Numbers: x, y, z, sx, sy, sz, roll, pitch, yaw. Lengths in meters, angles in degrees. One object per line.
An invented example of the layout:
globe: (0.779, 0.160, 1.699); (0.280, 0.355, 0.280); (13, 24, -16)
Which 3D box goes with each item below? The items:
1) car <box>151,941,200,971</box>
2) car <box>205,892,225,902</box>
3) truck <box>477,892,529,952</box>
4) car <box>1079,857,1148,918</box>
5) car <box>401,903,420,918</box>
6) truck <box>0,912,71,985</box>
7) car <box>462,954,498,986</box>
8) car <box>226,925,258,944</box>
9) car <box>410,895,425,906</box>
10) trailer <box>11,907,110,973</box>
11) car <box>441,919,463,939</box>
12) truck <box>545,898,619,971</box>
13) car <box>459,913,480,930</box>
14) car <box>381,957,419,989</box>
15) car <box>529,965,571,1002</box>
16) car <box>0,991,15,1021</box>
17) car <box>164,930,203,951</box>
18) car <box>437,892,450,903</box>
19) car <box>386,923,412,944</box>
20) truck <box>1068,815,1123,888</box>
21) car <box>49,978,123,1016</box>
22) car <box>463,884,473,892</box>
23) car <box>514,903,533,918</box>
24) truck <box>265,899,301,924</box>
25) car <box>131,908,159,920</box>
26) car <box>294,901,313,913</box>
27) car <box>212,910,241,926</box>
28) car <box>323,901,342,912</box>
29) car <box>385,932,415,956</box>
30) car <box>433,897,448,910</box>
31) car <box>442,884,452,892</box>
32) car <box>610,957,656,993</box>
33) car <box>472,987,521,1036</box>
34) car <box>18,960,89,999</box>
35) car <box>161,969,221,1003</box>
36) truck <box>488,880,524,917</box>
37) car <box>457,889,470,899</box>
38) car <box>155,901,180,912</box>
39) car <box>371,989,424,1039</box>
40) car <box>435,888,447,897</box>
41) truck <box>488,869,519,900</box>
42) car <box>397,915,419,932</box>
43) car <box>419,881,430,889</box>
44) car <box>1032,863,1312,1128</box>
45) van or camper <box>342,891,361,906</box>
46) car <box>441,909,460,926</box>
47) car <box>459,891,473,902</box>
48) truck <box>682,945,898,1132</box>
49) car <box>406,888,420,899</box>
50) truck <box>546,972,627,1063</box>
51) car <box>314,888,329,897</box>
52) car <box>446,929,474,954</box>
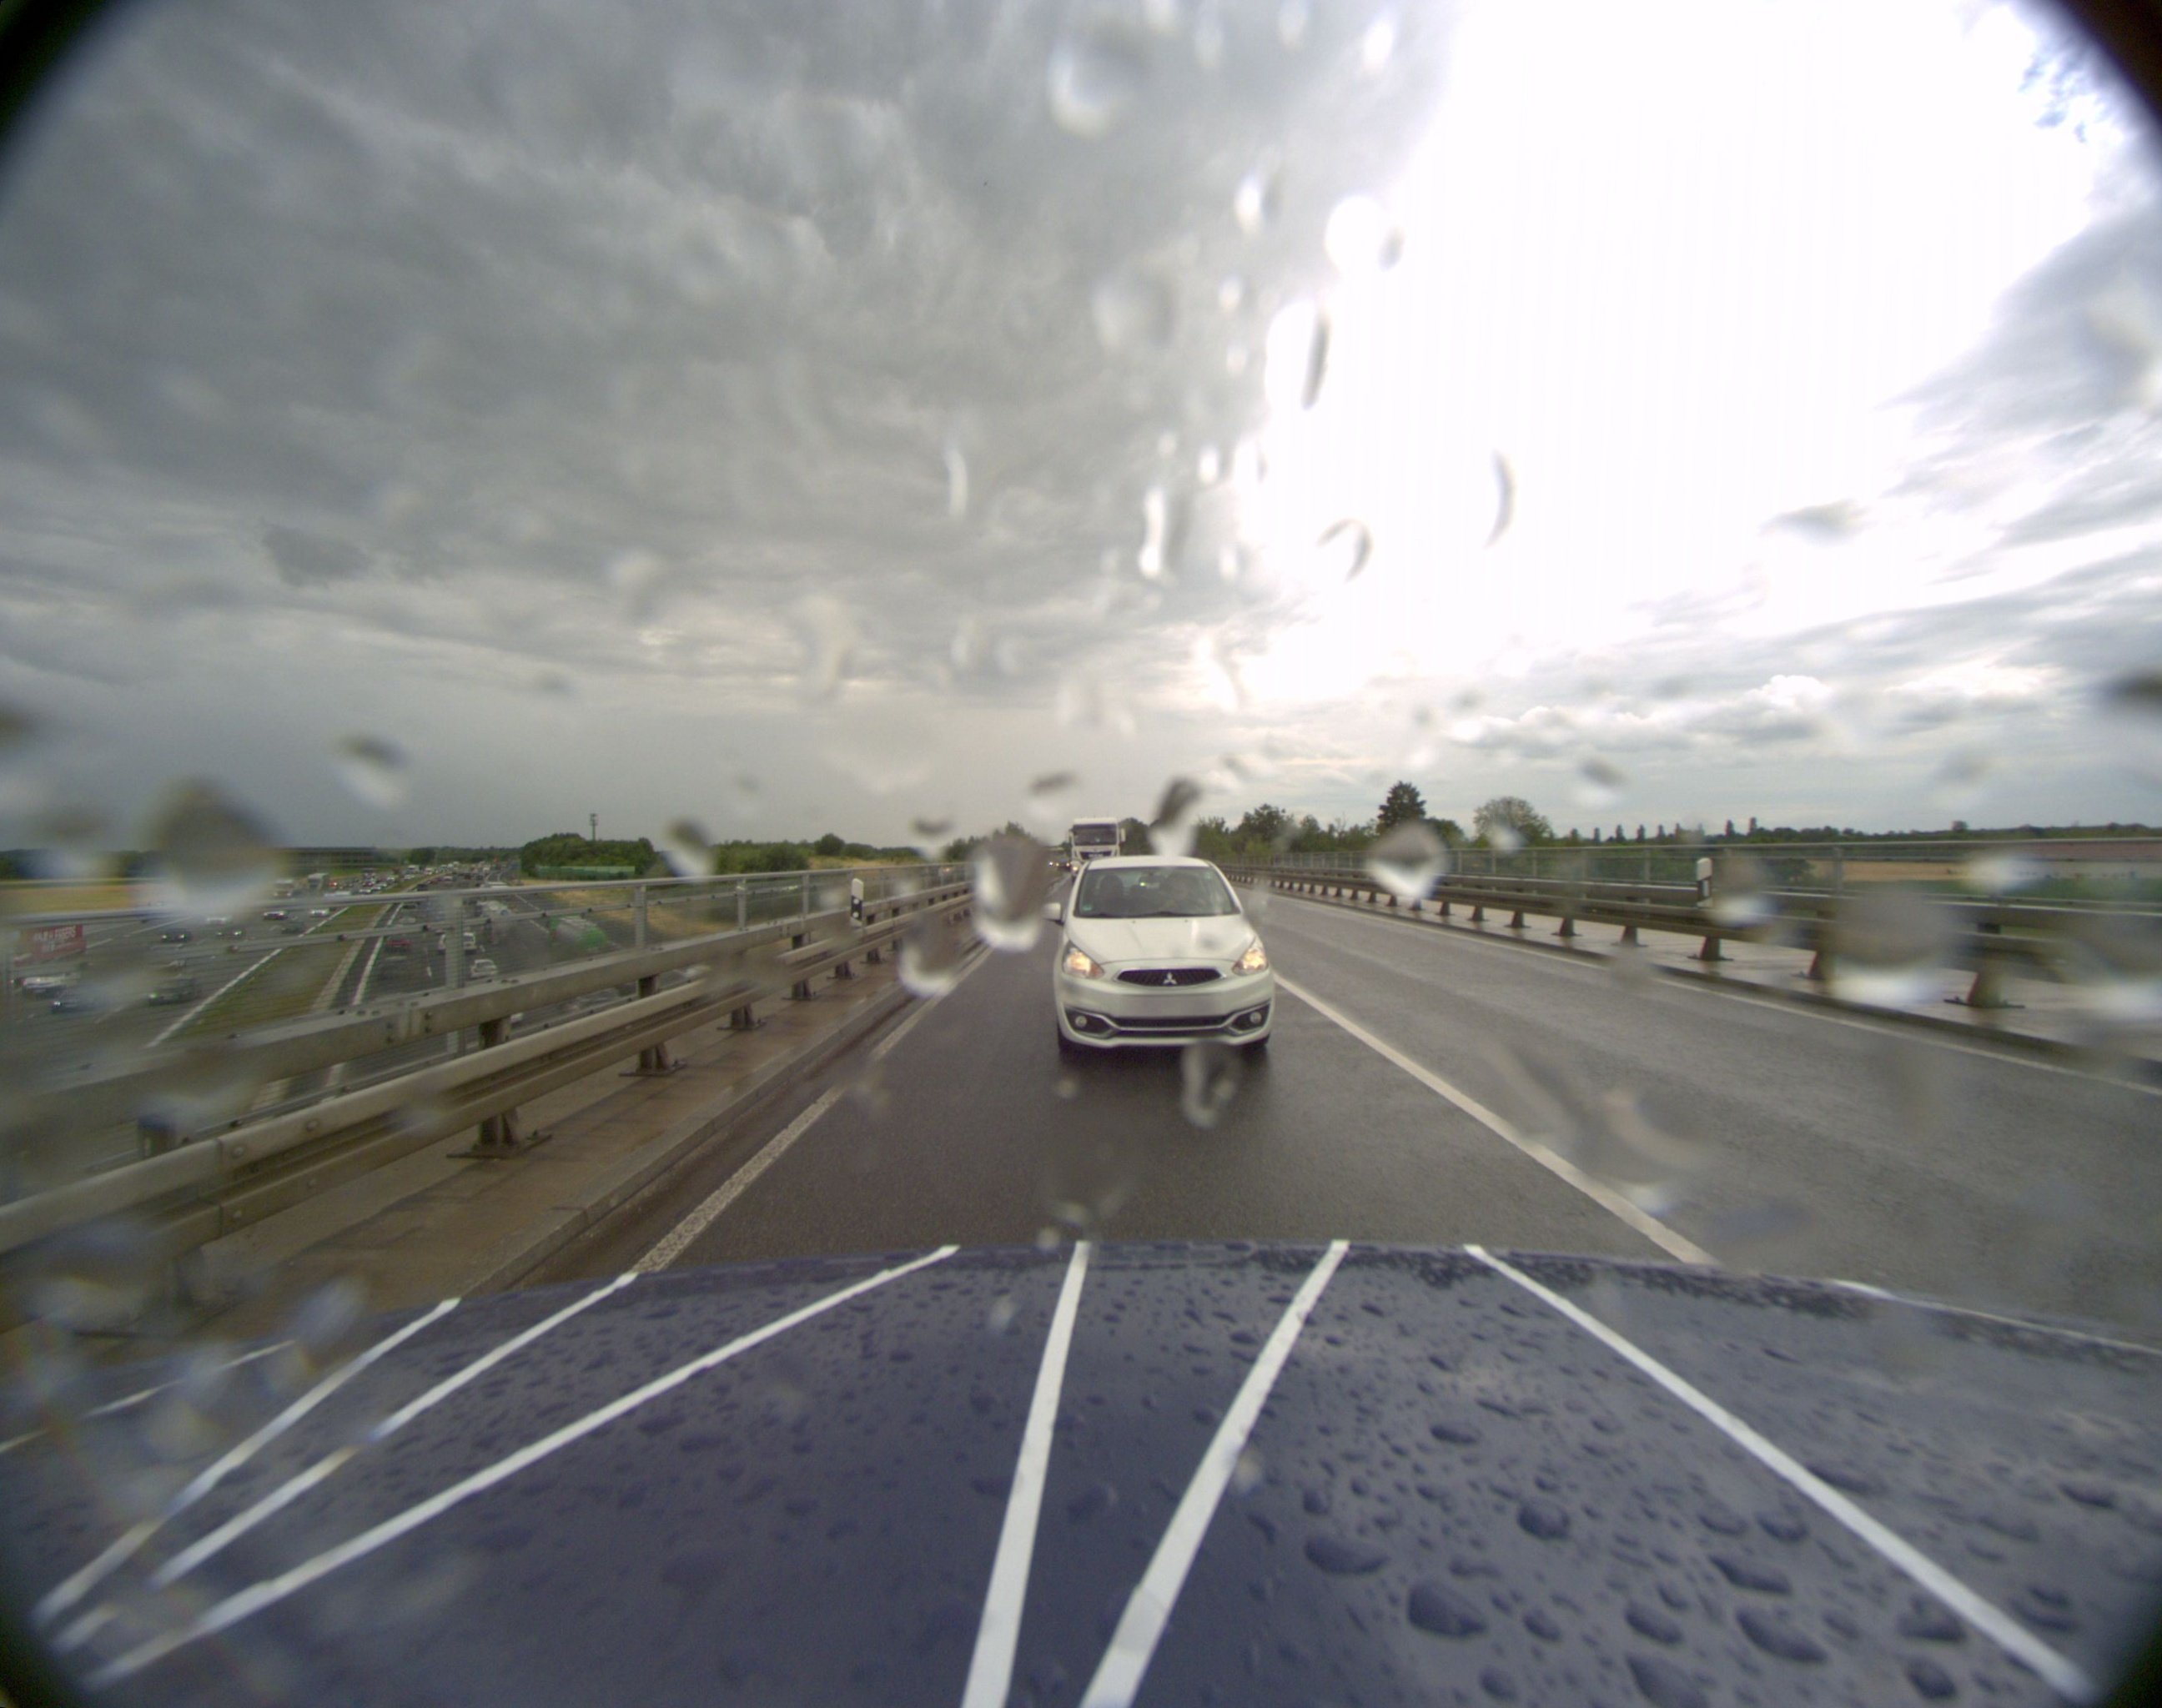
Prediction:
car: (-74.609, 8.378, 62.668); (1.818, 1.836, 4.711); (-3, 1, -41)
car: (-160.657, 7.960, 141.003); (1.818, 1.428, 4.711); (-3, 1, -41)
truck: (-63.248, 7.163, 82.951); (3.302, 5.411, 15.587); (-3, 1, -41)
car: (0.841, 0.850, 21.024); (1.675, 1.367, 4.129); (-2, 1, 1)
car: (-95.698, 8.089, 108.425); (1.860, 1.764, 4.711); (-3, 1, -40)
truck: (-79.258, 6.976, 56.537); (2.691, 4.600, 9.727); (-3, 1, -41)
car: (-44.080, 8.458, 55.713); (1.860, 1.659, 4.711); (-3, 1, -40)
car: (-95.478, 9.182, 86.501); (1.818, 1.659, 4.711); (-3, 1, -40)
car: (-121.301, 8.545, 138.932); (1.860, 1.764, 4.711); (-3, 1, -40)
trailer: (-85.632, 7.044, 63.974); (2.691, 4.602, 9.882); (-3, 1, -41)
car: (-72.674, 8.622, 87.801); (1.860, 1.764, 4.711); (-3, 1, -40)
truck: (-44.844, 6.861, 67.887); (3.302, 5.135, 15.587); (-3, 1, -41)
car: (-78.029, 8.591, 96.960); (1.860, 1.764, 4.711); (-3, 1, -40)
car: (-50.091, 8.704, 55.955); (1.860, 1.659, 4.711); (-3, 1, -40)
car: (-35.606, 8.637, 50.891); (1.860, 1.659, 4.711); (-3, 1, -40)
car: (-60.787, 8.606, 41.525); (1.818, 1.428, 4.711); (-3, 1, -41)
car: (-94.358, 9.047, 79.948); (1.818, 1.659, 4.711); (-3, 1, -40)
car: (-123.131, 8.429, 146.795); (1.860, 1.764, 4.711); (-3, 1, -40)
car: (-73.442, 8.527, 81.901); (1.860, 1.764, 4.711); (-3, 1, -40)
truck: (0.677, -0.341, 41.846); (2.631, 3.537, 8.473); (-2, 3, 0)
car: (-61.347, 8.789, 46.946); (1.818, 1.428, 4.711); (-3, 1, -41)
car: (-148.628, 8.135, 184.200); (1.860, 1.764, 4.711); (-3, 1, -40)
car: (-82.331, 8.325, 112.206); (1.860, 1.764, 4.711); (-3, 1, -40)
truck: (-117.347, 8.371, 111.843); (2.600, 3.161, 8.373); (-3, 1, -40)
car: (-139.209, 8.921, 112.998); (1.818, 1.428, 4.711); (-3, 1, -41)
car: (-130.512, 8.880, 127.565); (1.818, 1.659, 4.711); (-3, 1, -40)
car: (-112.340, 8.358, 99.917); (1.818, 1.659, 4.711); (-3, 1, -40)
car: (-125.182, 8.760, 127.125); (1.860, 1.659, 4.711); (-3, 1, -40)
car: (-63.777, 8.430, 71.199); (1.860, 1.659, 4.711); (-3, 1, -40)
car: (-105.040, 8.131, 124.639); (1.860, 1.764, 4.711); (-3, 1, -40)
car: (-153.692, 8.158, 184.155); (1.860, 1.764, 4.711); (-3, 1, -40)
car: (-30.447, 8.176, 51.549); (1.860, 1.659, 4.711); (-3, 1, -40)
car: (-31.687, 8.462, 41.135); (1.860, 1.659, 4.711); (-3, 1, -40)
car: (-68.855, 8.359, 50.990); (1.818, 1.873, 4.711); (-3, 1, -41)
car: (-58.251, 8.589, 49.790); (1.818, 1.428, 4.711); (-3, 1, -41)
truck: (-94.070, 7.104, 124.086); (3.499, 5.322, 15.587); (-3, 1, -41)
car: (-125.089, 8.038, 154.001); (1.860, 1.764, 4.711); (-3, 1, -40)
car: (-147.264, 8.445, 122.559); (1.818, 1.428, 4.711); (-3, 1, -41)
car: (-36.051, 8.380, 40.165); (1.860, 1.659, 4.711); (-3, 1, -40)
car: (-136.620, 8.223, 162.225); (1.860, 1.764, 4.711); (-3, 1, -40)
truck: (-108.752, 5.576, 142.879); (3.499, 5.322, 15.587); (-3, 1, -41)
car: (-86.373, 8.922, 97.562); (1.860, 1.764, 4.711); (-3, 1, -40)
car: (-162.607, 7.780, 188.254); (1.860, 1.764, 4.711); (-3, 1, -40)
car: (0.586, 0.901, 6.763); (1.675, 1.476, 4.129); (-2, 1, 1)
van or camper: (-137.981, 8.455, 143.746); (2.063, 2.436, 7.310); (-3, 1, -40)
car: (-84.042, 8.442, 101.320); (1.860, 1.764, 4.711); (-3, 1, -40)
car: (-115.064, 7.983, 142.112); (1.860, 1.764, 4.711); (-3, 1, -40)
truck: (-12.966, 6.920, 32.054); (3.610, 4.511, 15.588); (-3, 1, -39)
car: (-139.333, 8.177, 158.446); (2.003, 2.003, 3.989); (-7, 3, -43)
truck: (-25.597, 8.161, 39.107); (2.216, 2.949, 9.283); (-3, 1, -40)
car: (-169.731, 8.546, 169.857); (1.860, 1.659, 4.711); (-3, 1, -40)
car: (-57.536, 8.078, 70.382); (1.860, 1.764, 4.711); (-3, 1, -40)
